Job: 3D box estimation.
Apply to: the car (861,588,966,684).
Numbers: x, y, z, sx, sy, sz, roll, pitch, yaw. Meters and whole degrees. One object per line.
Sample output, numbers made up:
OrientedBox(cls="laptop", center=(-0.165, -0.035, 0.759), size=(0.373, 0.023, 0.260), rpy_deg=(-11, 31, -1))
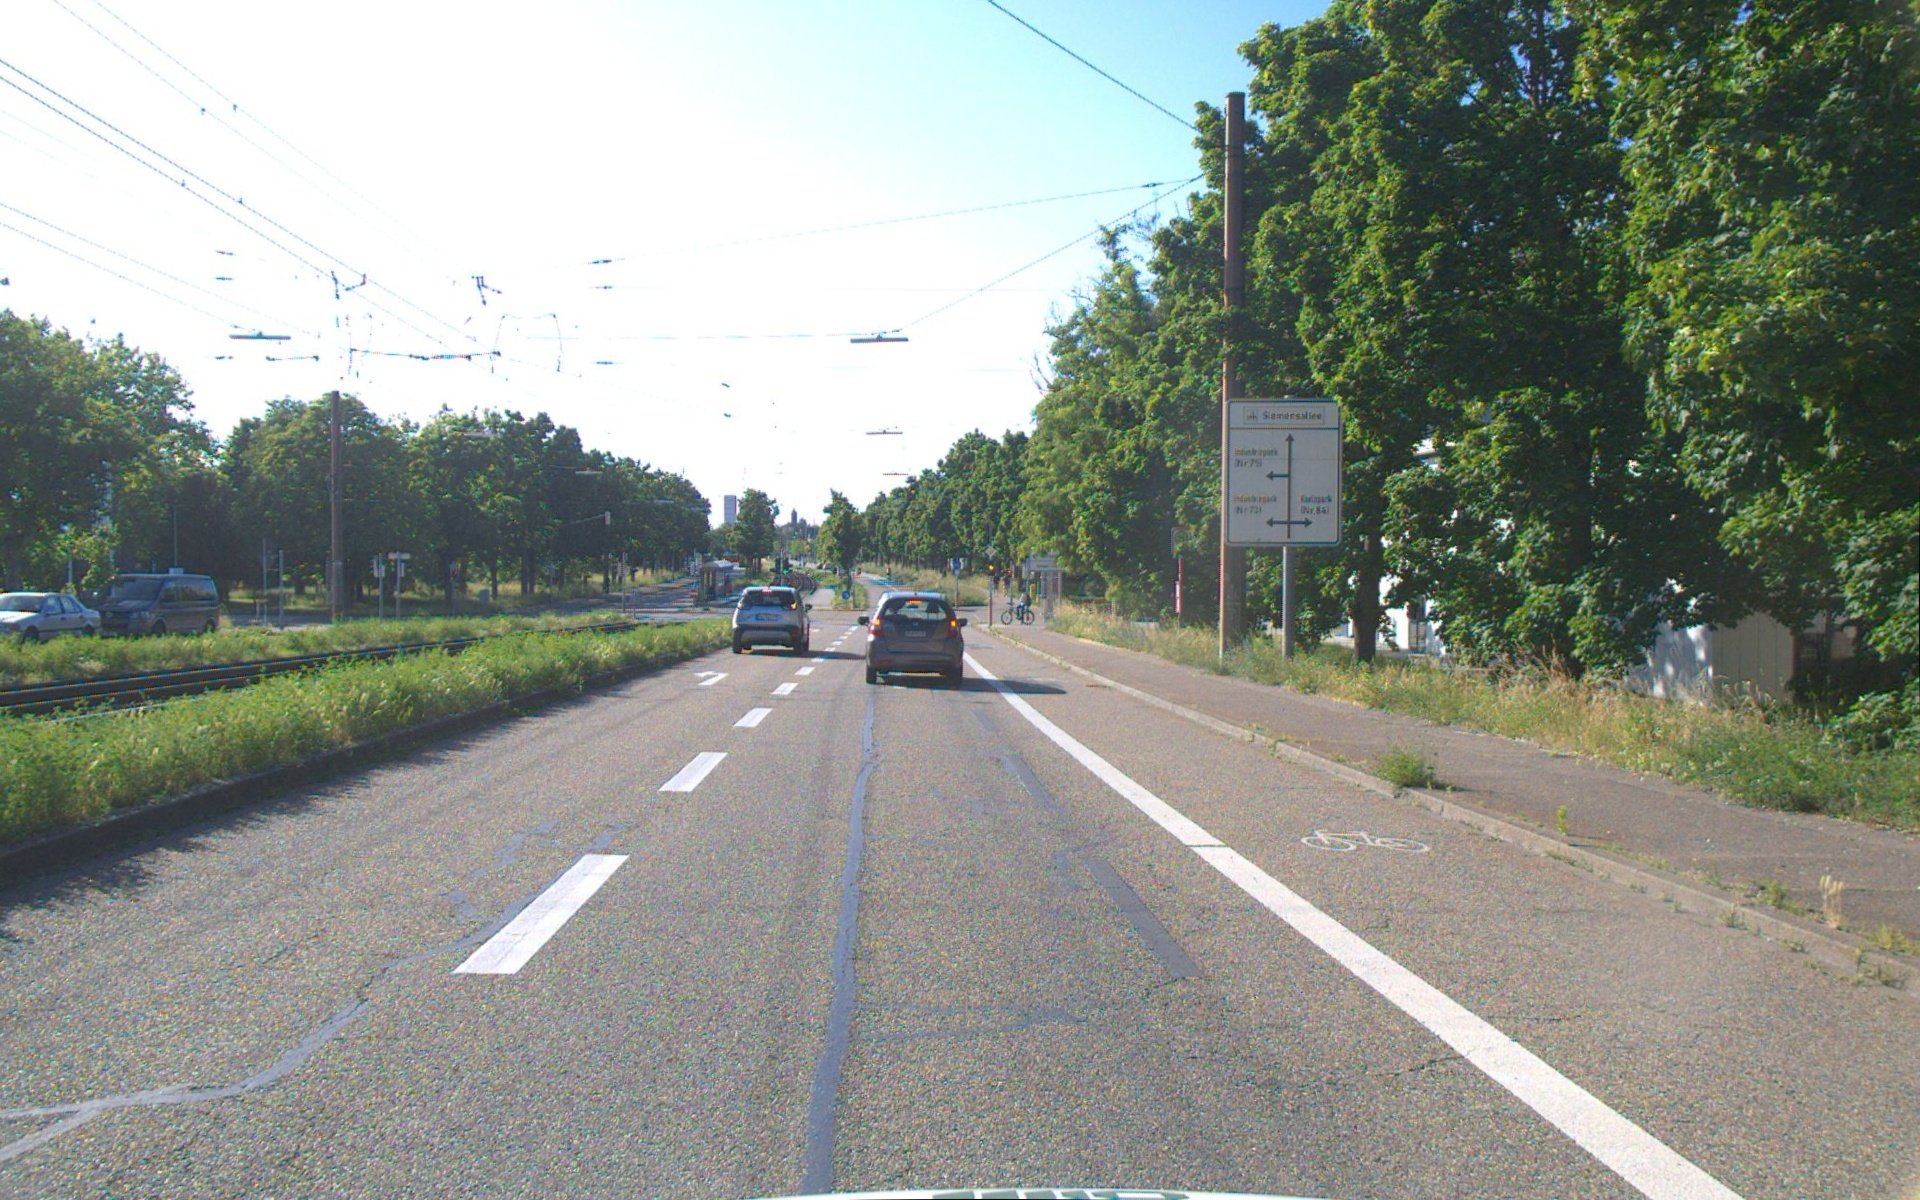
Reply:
OrientedBox(cls="car", center=(-0.811, 0.581, 29.110), size=(1.672, 1.535, 3.999), rpy_deg=(2, 0, -1))

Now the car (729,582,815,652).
OrientedBox(cls="car", center=(-4.623, 0.392, 41.227), size=(1.814, 1.634, 4.252), rpy_deg=(1, 0, -3))

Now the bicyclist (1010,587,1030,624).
OrientedBox(cls="bicyclist", center=(2.951, 0.262, 81.030), size=(0.890, 1.775, 0.765), rpy_deg=(-1, 0, 9))

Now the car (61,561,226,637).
OrientedBox(cls="car", center=(-22.333, -0.037, 45.487), size=(2.152, 1.924, 4.791), rpy_deg=(1, 0, 0))

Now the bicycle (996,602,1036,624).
OrientedBox(cls="bicycle", center=(2.749, 0.640, 81.060), size=(1.879, 1.015, 0.765), rpy_deg=(-1, -1, 8))

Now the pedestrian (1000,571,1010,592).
OrientedBox(cls="pedestrian", center=(3.670, -1.501, 135.145), size=(0.665, 1.638, 0.720), rpy_deg=(2, 0, -5))

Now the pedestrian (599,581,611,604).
OrientedBox(cls="pedestrian", center=(-31.853, -0.671, 148.389), size=(0.823, 2.049, 0.862), rpy_deg=(1, 0, -4))

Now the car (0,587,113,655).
OrientedBox(cls="car", center=(-22.168, 0.453, 39.203), size=(1.889, 1.462, 4.693), rpy_deg=(1, 0, -2))
